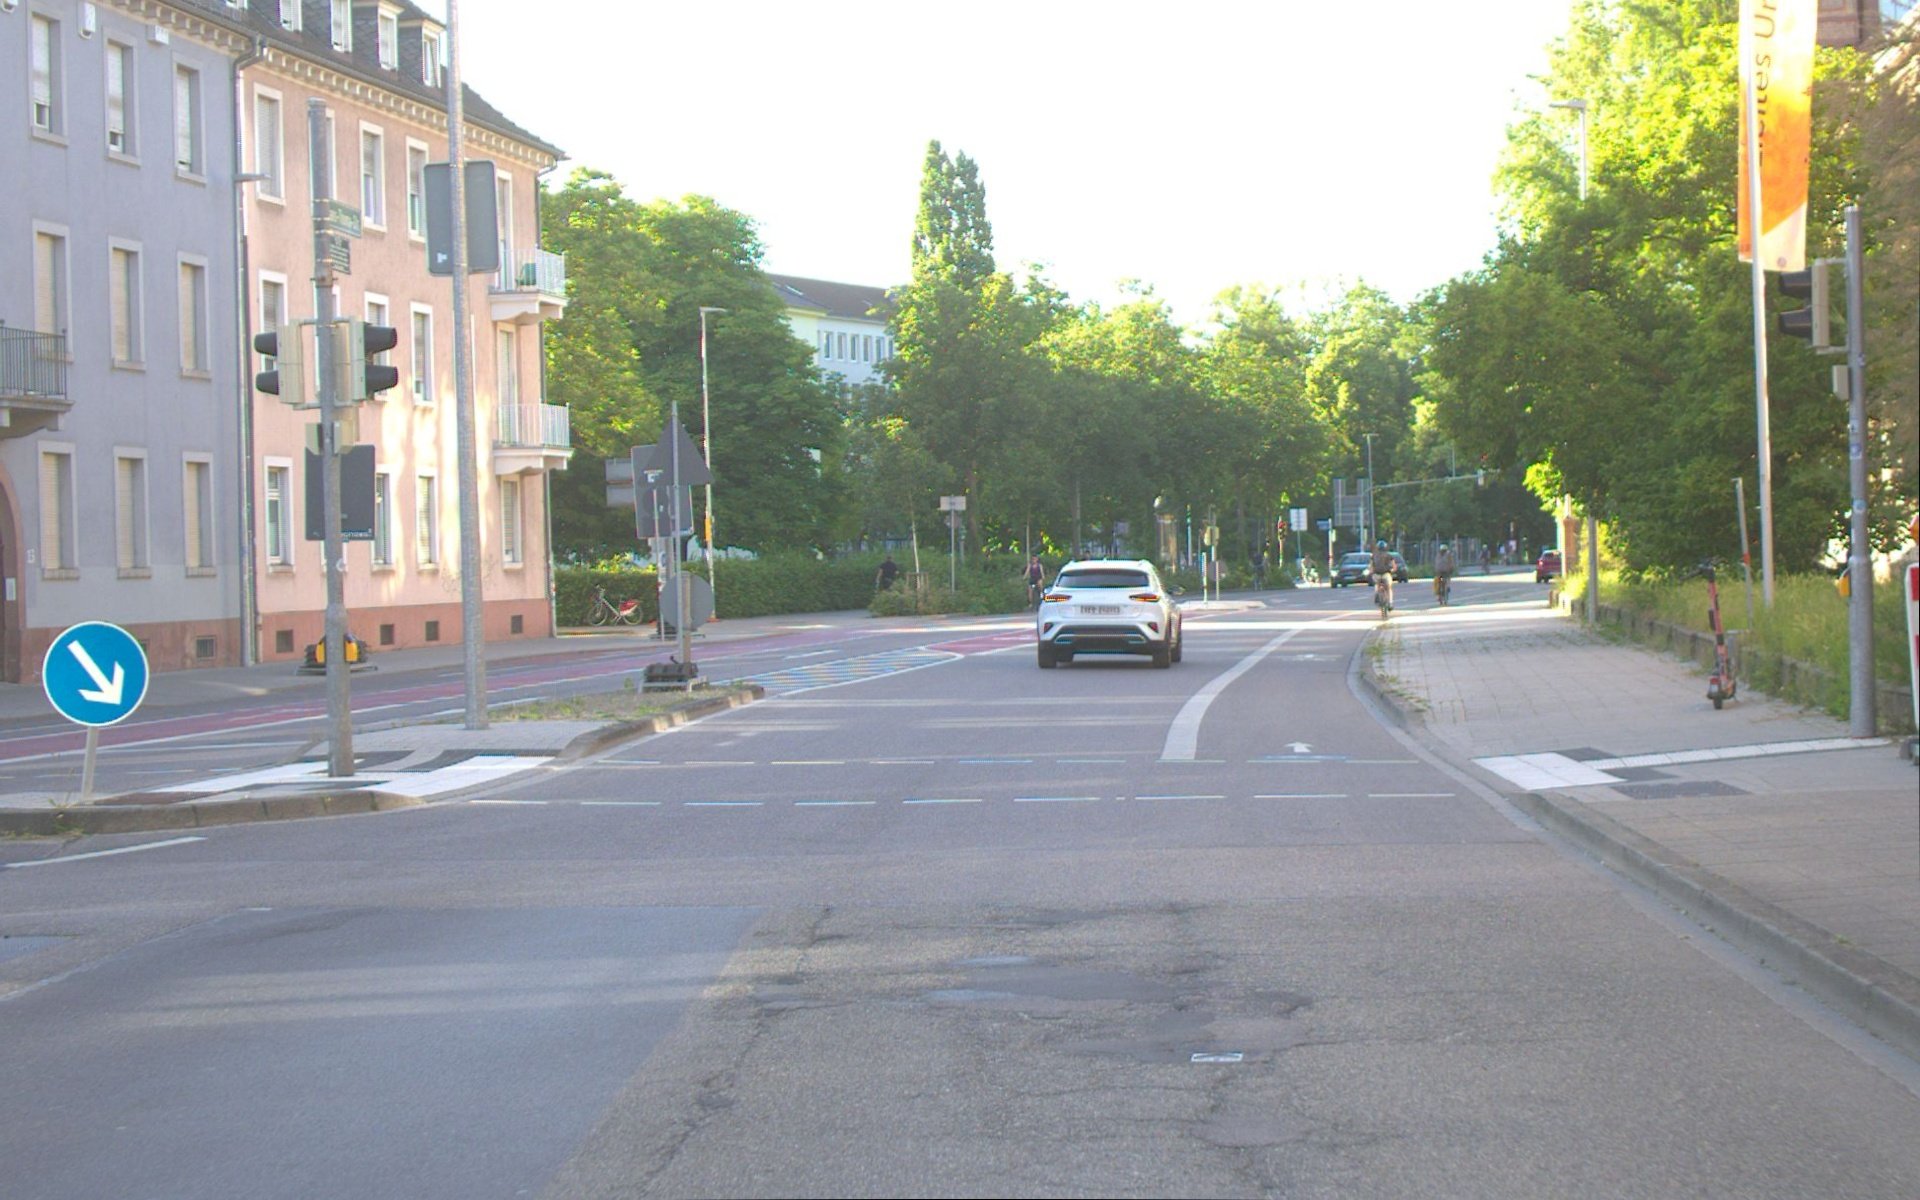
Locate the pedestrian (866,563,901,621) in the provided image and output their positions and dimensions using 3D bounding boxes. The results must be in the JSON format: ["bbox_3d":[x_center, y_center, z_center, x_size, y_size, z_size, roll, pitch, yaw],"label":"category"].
[{"bbox_3d":[-2.490,-0.255,112.244,0.856,1.845,1.000,-2,0,14],"label":"pedestrian"}]

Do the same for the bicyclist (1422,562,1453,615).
[{"bbox_3d":[13.953,-0.328,100.405,0.748,1.532,0.969,-1,0,16],"label":"bicyclist"}]

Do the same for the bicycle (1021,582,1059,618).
[{"bbox_3d":[2.423,-0.007,104.003,0.737,0.992,2.108,-2,1,12],"label":"bicycle"}]

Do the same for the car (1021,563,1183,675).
[{"bbox_3d":[2.044,0.244,48.465,1.994,1.448,3.999,-2,0,6],"label":"car"}]

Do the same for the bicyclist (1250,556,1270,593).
[{"bbox_3d":[12.607,-1.073,144.479,0.629,1.517,0.724,-4,0,13],"label":"bicyclist"}]

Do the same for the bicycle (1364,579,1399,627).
[{"bbox_3d":[9.366,0.060,76.400,0.643,1.021,2.211,0,1,10],"label":"bicycle"}]

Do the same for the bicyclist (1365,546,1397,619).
[{"bbox_3d":[9.368,-0.399,76.504,0.636,1.609,1.283,0,1,10],"label":"bicyclist"}]

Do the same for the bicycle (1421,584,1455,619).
[{"bbox_3d":[13.957,0.048,100.352,0.753,1.022,1.868,0,0,16],"label":"bicycle"}]

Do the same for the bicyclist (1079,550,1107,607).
[{"bbox_3d":[4.087,-0.657,105.889,0.636,1.704,0.738,-4,0,10],"label":"bicyclist"}]

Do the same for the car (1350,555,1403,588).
[{"bbox_3d":[19.295,-1.325,159.124,1.759,1.454,3.997,-2,0,17],"label":"car"}]

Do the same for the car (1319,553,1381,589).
[{"bbox_3d":[16.534,-1.237,145.668,1.813,1.415,4.551,-2,1,16],"label":"car"}]

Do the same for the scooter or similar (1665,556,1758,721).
[{"bbox_3d":[6.236,0.300,28.573,0.555,1.304,1.831,-2,1,7],"label":"scooter or similar"}]

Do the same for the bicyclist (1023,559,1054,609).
[{"bbox_3d":[2.365,-0.489,104.029,0.738,1.480,0.665,-3,0,13],"label":"bicyclist"}]

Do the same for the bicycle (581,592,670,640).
[{"bbox_3d":[-9.104,0.445,93.630,2.321,1.225,0.560,-2,0,15],"label":"bicycle"}]

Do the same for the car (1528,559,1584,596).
[{"bbox_3d":[26.015,-0.974,149.985,1.930,1.528,3.997,-2,0,16],"label":"car"}]

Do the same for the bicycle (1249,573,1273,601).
[{"bbox_3d":[12.658,-0.535,144.530,0.597,1.117,2.026,-5,0,13],"label":"bicycle"}]
